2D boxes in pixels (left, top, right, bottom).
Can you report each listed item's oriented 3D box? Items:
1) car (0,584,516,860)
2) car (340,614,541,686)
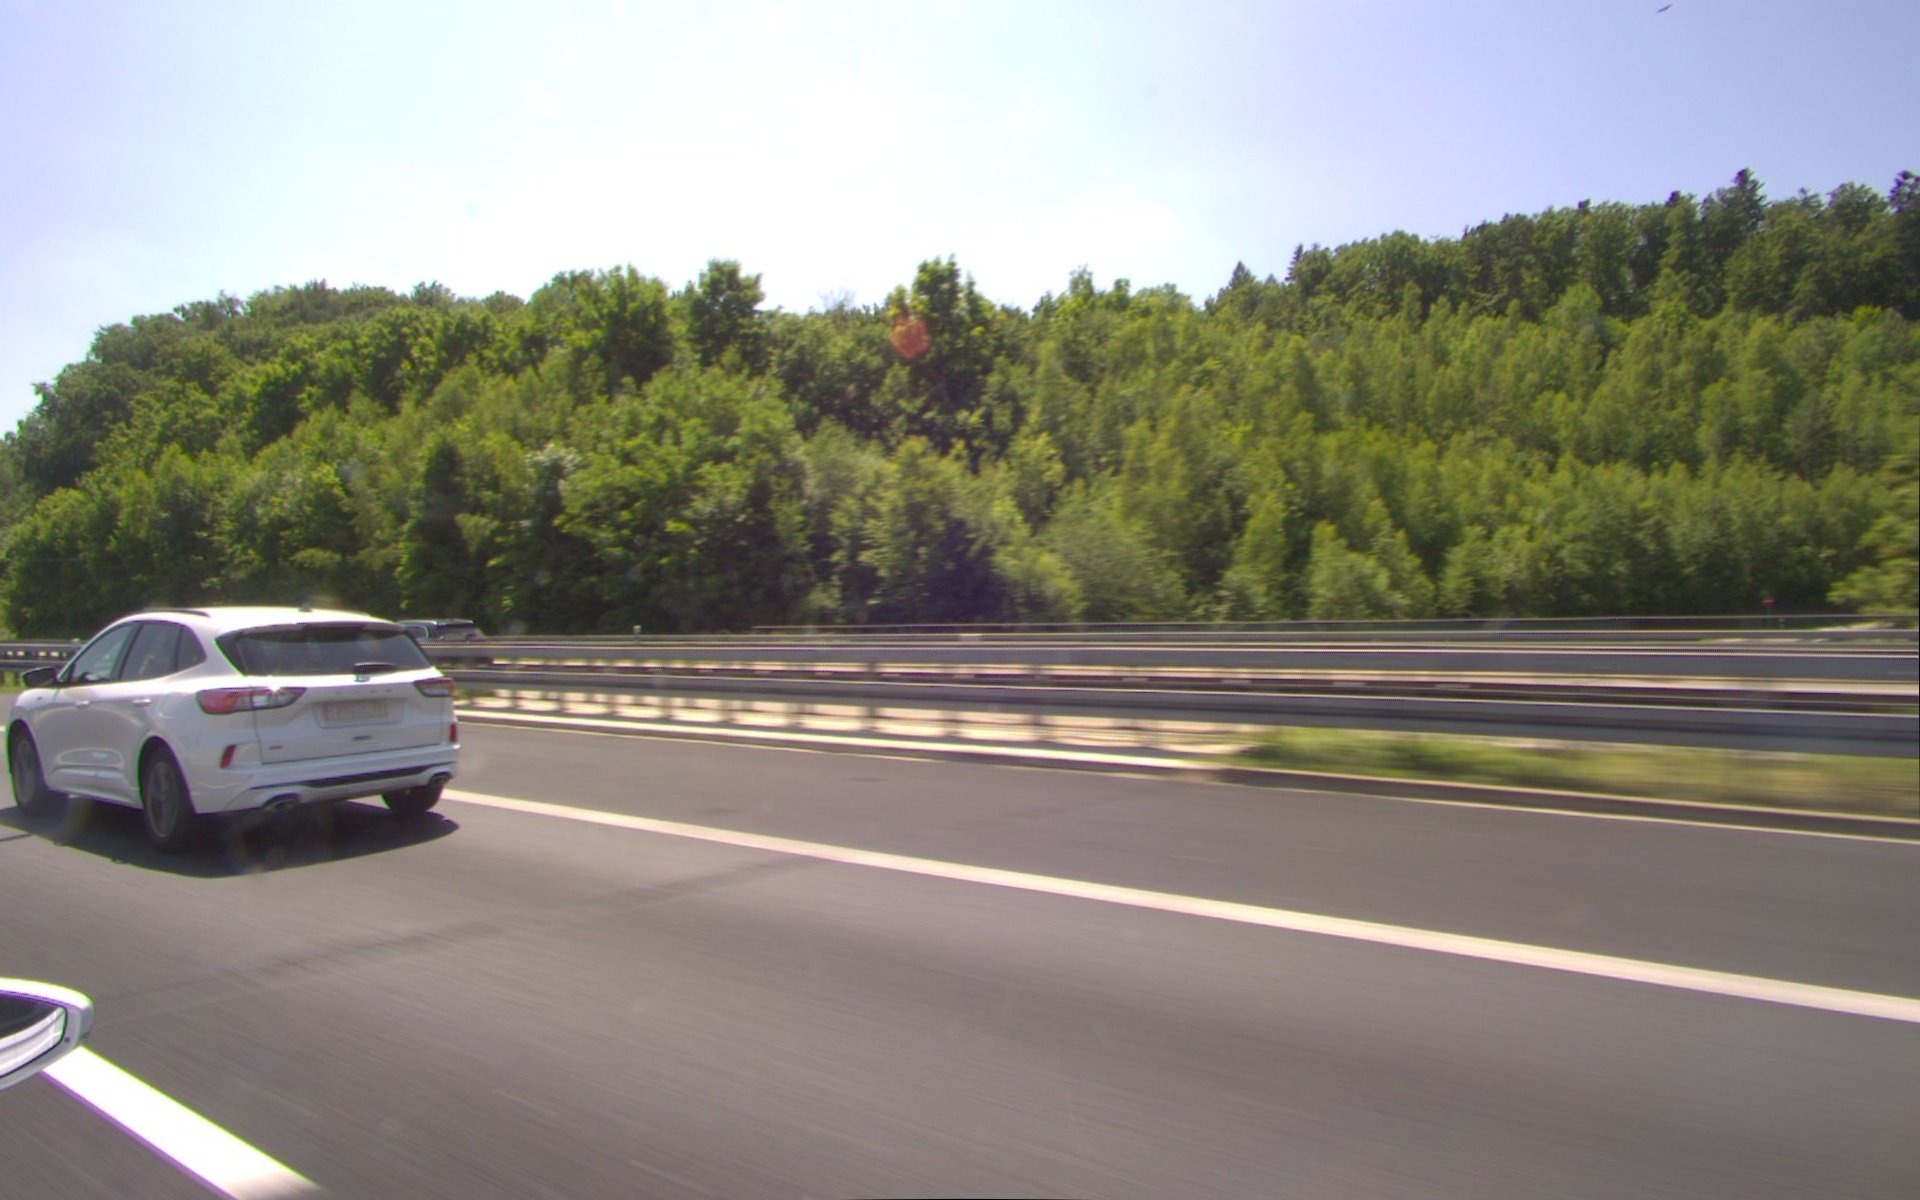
[{"bbox_3d":[-5.857,0.823,8.128,4.404,1.683,1.990,-2,-1,32],"label":"car"},{"bbox_3d":[-13.506,1.278,25.943,5.544,1.683,1.991,-2,-1,30],"label":"car"}]
